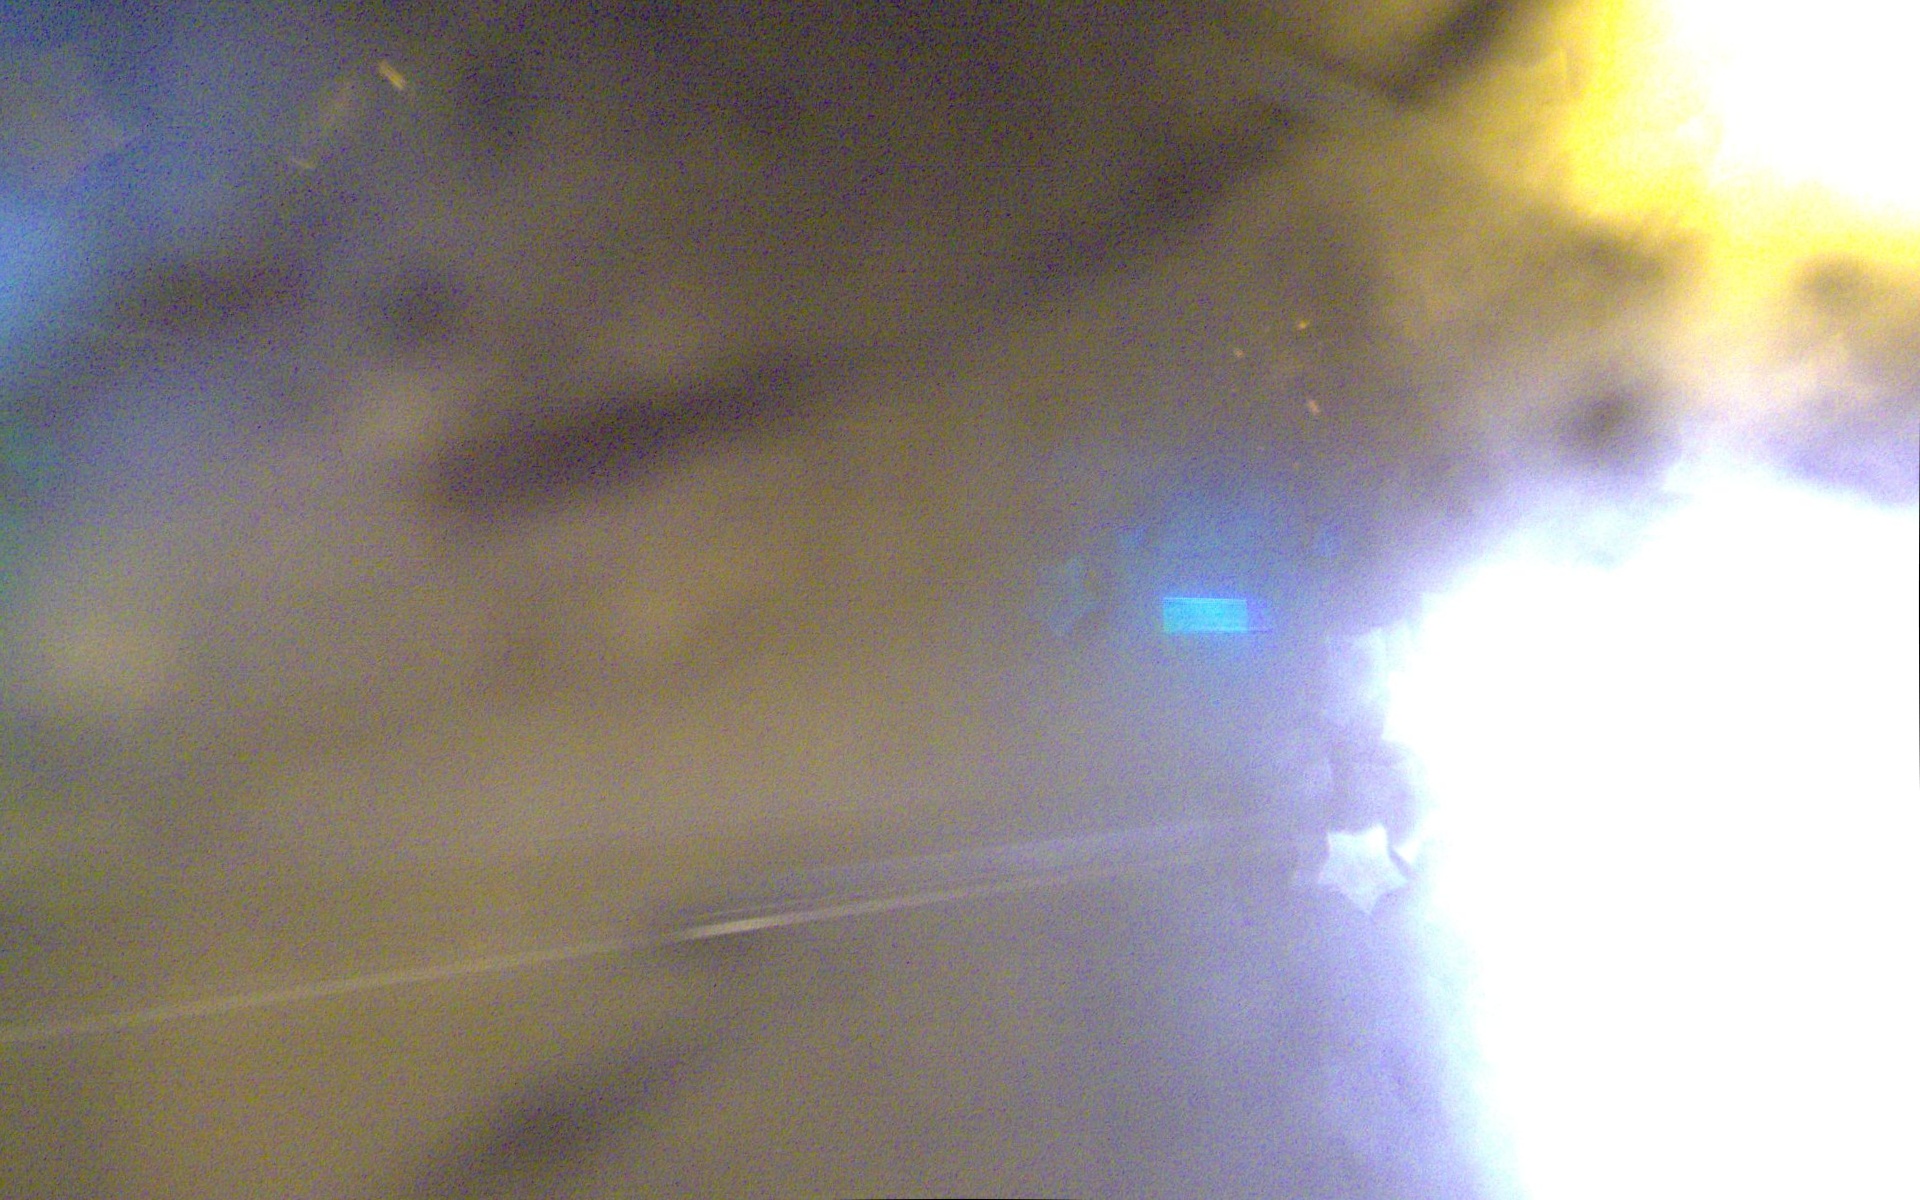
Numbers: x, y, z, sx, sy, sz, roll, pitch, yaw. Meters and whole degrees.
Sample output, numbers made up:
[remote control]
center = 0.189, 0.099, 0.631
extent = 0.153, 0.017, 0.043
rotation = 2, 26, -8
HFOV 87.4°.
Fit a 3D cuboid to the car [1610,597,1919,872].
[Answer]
[car]
center = 6.527, 0.791, 7.227
extent = 3.702, 1.525, 1.682
rotation = 1, -1, -31
